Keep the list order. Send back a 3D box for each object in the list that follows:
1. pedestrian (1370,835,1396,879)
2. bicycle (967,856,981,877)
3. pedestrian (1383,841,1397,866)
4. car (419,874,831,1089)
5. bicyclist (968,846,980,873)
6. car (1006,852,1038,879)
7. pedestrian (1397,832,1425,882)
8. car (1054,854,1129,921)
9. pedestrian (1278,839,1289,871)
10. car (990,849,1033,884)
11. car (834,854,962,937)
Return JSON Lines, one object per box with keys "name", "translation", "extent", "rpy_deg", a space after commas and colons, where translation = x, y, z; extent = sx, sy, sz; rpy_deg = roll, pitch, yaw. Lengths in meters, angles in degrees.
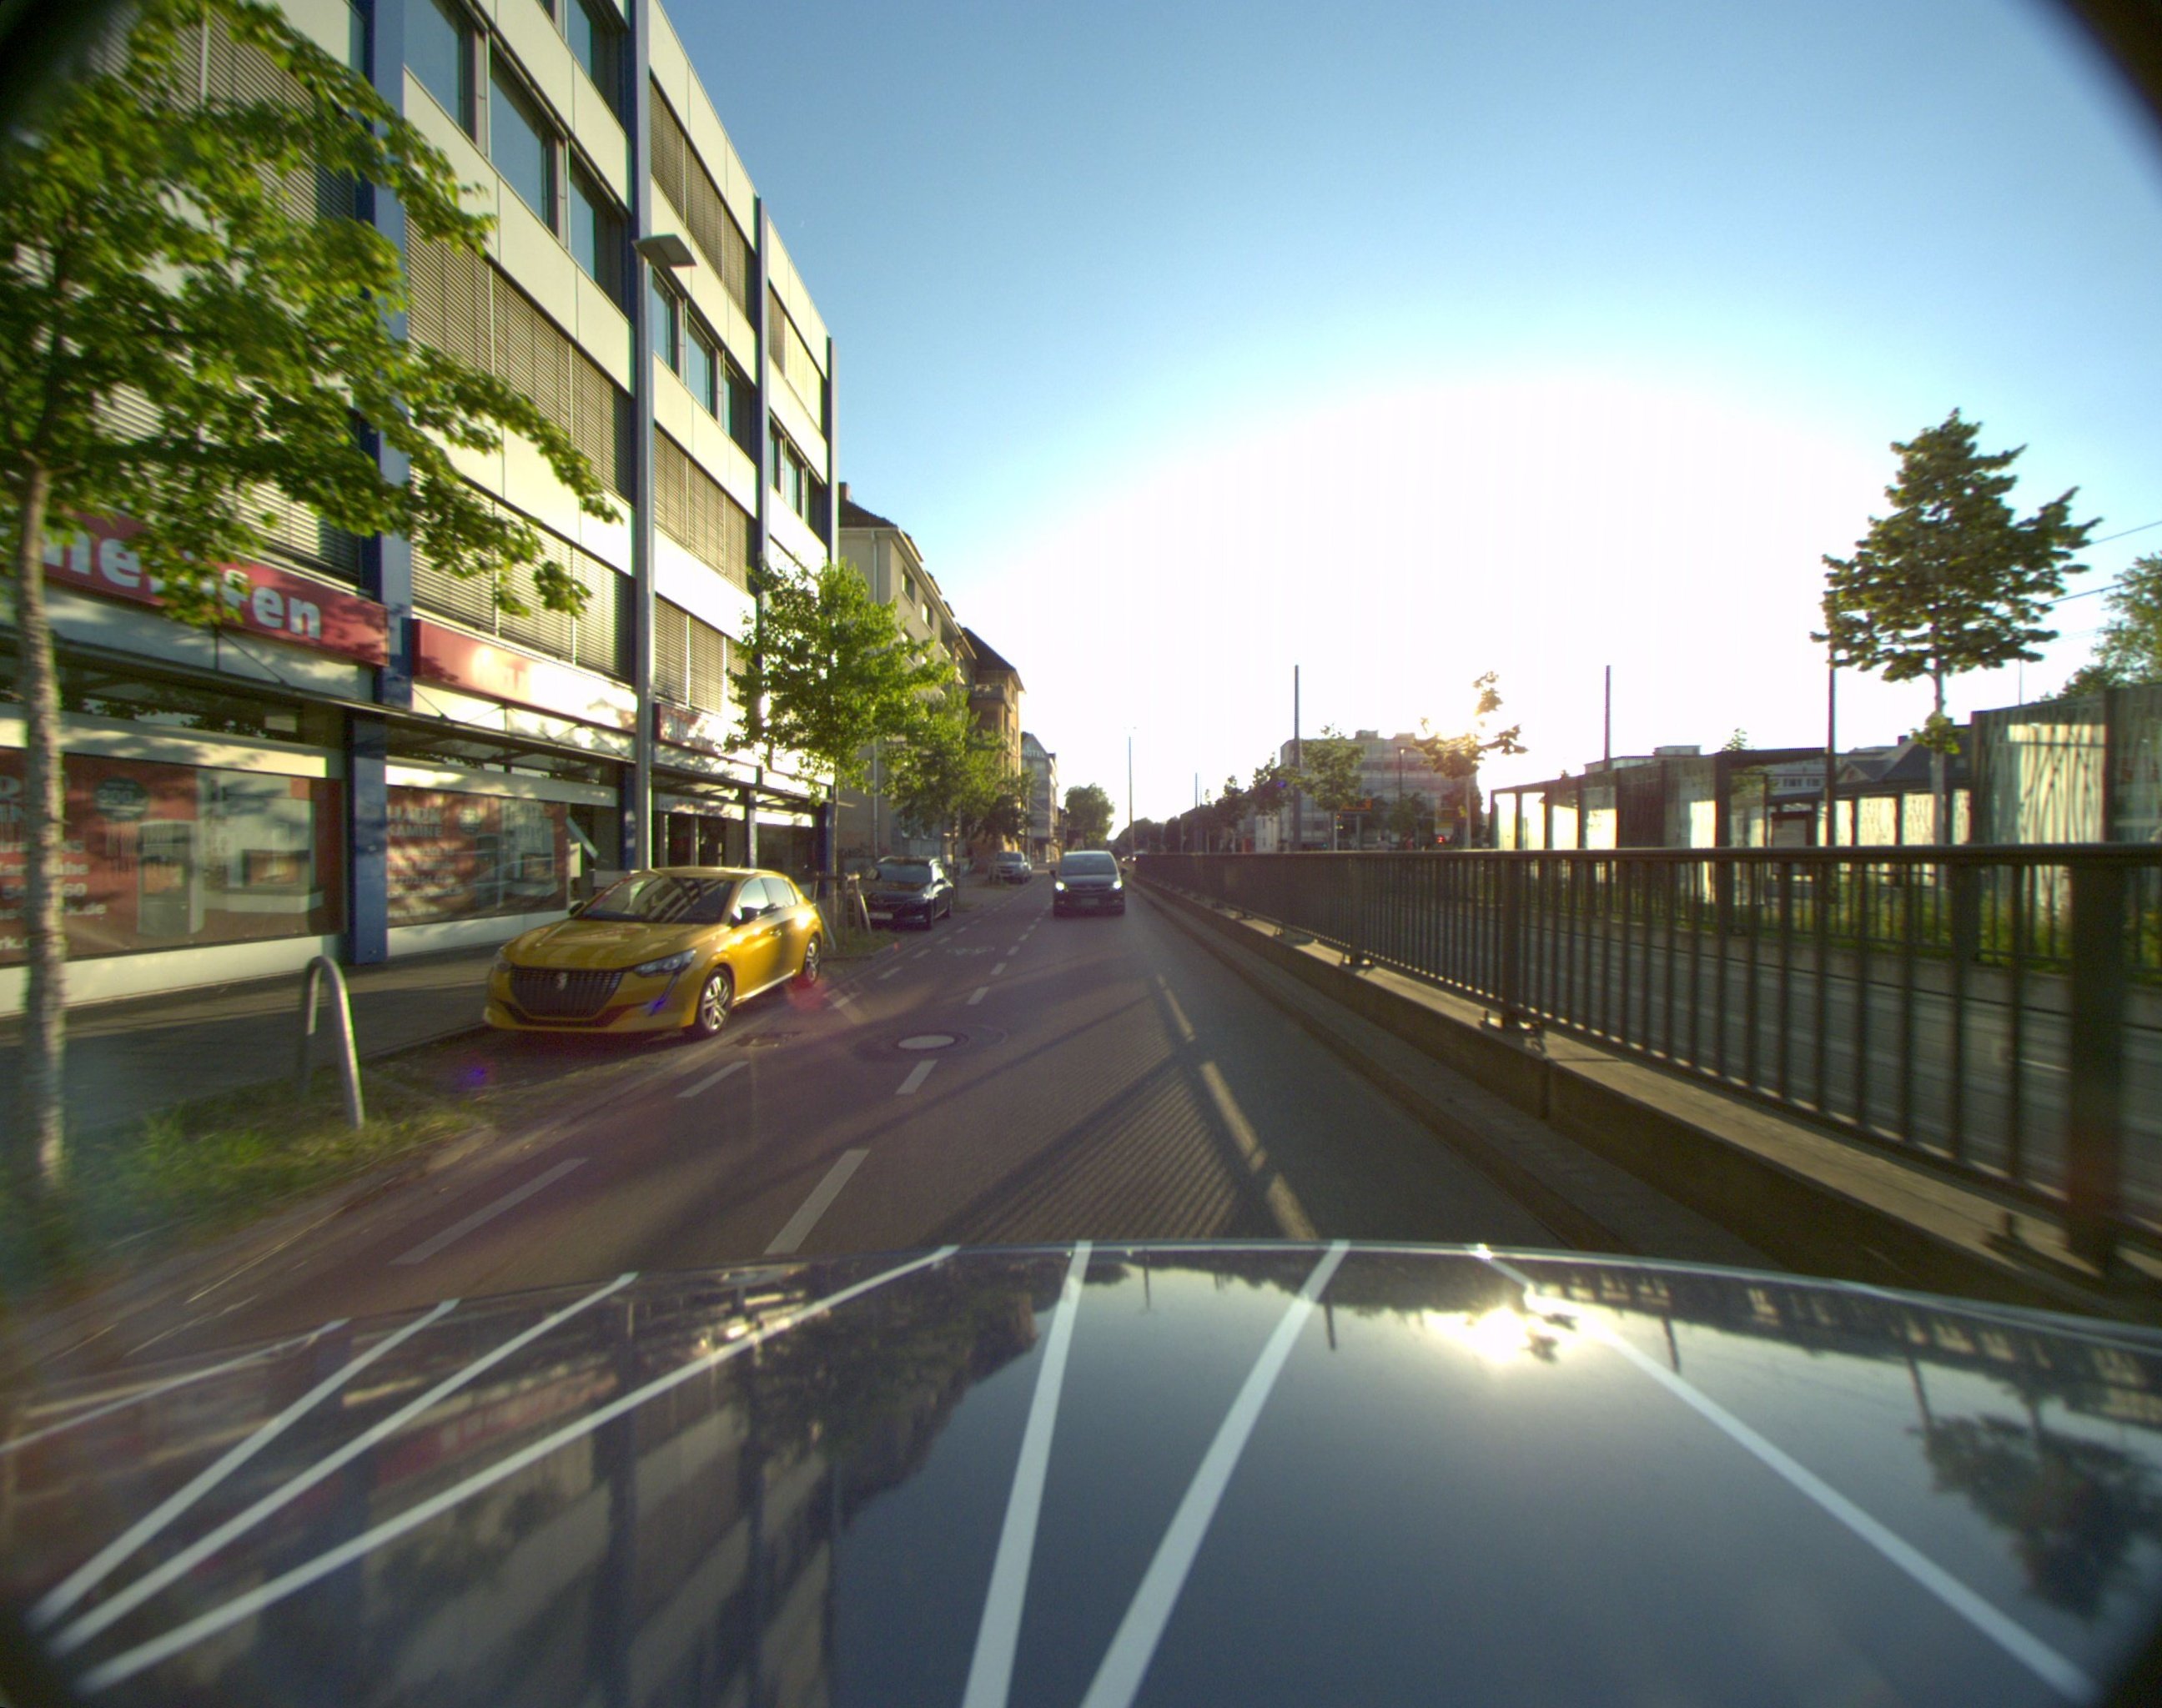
{"name": "pedestrian", "translation": [12.207, 0.128, 30.701], "extent": [0.727, 1.734, 0.636], "rpy_deg": [-1, 0, -7]}
{"name": "bicycle", "translation": [-6.078, 0.687, 43.248], "extent": [0.555, 1.123, 1.973], "rpy_deg": [3, 1, -1]}
{"name": "pedestrian", "translation": [22.905, -0.041, 56.356], "extent": [0.696, 1.788, 0.817], "rpy_deg": [-1, 1, 3]}
{"name": "car", "translation": [-4.039, 0.995, 7.665], "extent": [1.688, 1.446, 4.129], "rpy_deg": [1, 0, 0]}
{"name": "bicyclist", "translation": [-6.062, 0.304, 43.177], "extent": [0.559, 1.467, 0.622], "rpy_deg": [3, 1, -1]}
{"name": "car", "translation": [-3.524, 0.670, 45.846], "extent": [1.674, 1.509, 3.600], "rpy_deg": [3, 0, -1]}
{"name": "pedestrian", "translation": [11.492, 0.094, 26.487], "extent": [0.636, 1.719, 0.635], "rpy_deg": [0, 1, -12]}
{"name": "car", "translation": [0.247, 0.807, 20.473], "extent": [1.800, 1.609, 4.386], "rpy_deg": [0, 0, 0]}
{"name": "pedestrian", "translation": [11.181, 0.047, 41.978], "extent": [0.472, 1.776, 0.626], "rpy_deg": [-1, 1, 8]}
{"name": "car", "translation": [-3.649, 0.621, 40.338], "extent": [1.761, 1.644, 4.528], "rpy_deg": [2, 0, 1]}
{"name": "car", "translation": [-4.045, 0.838, 17.651], "extent": [1.824, 1.557, 4.809], "rpy_deg": [3, 0, -1]}
